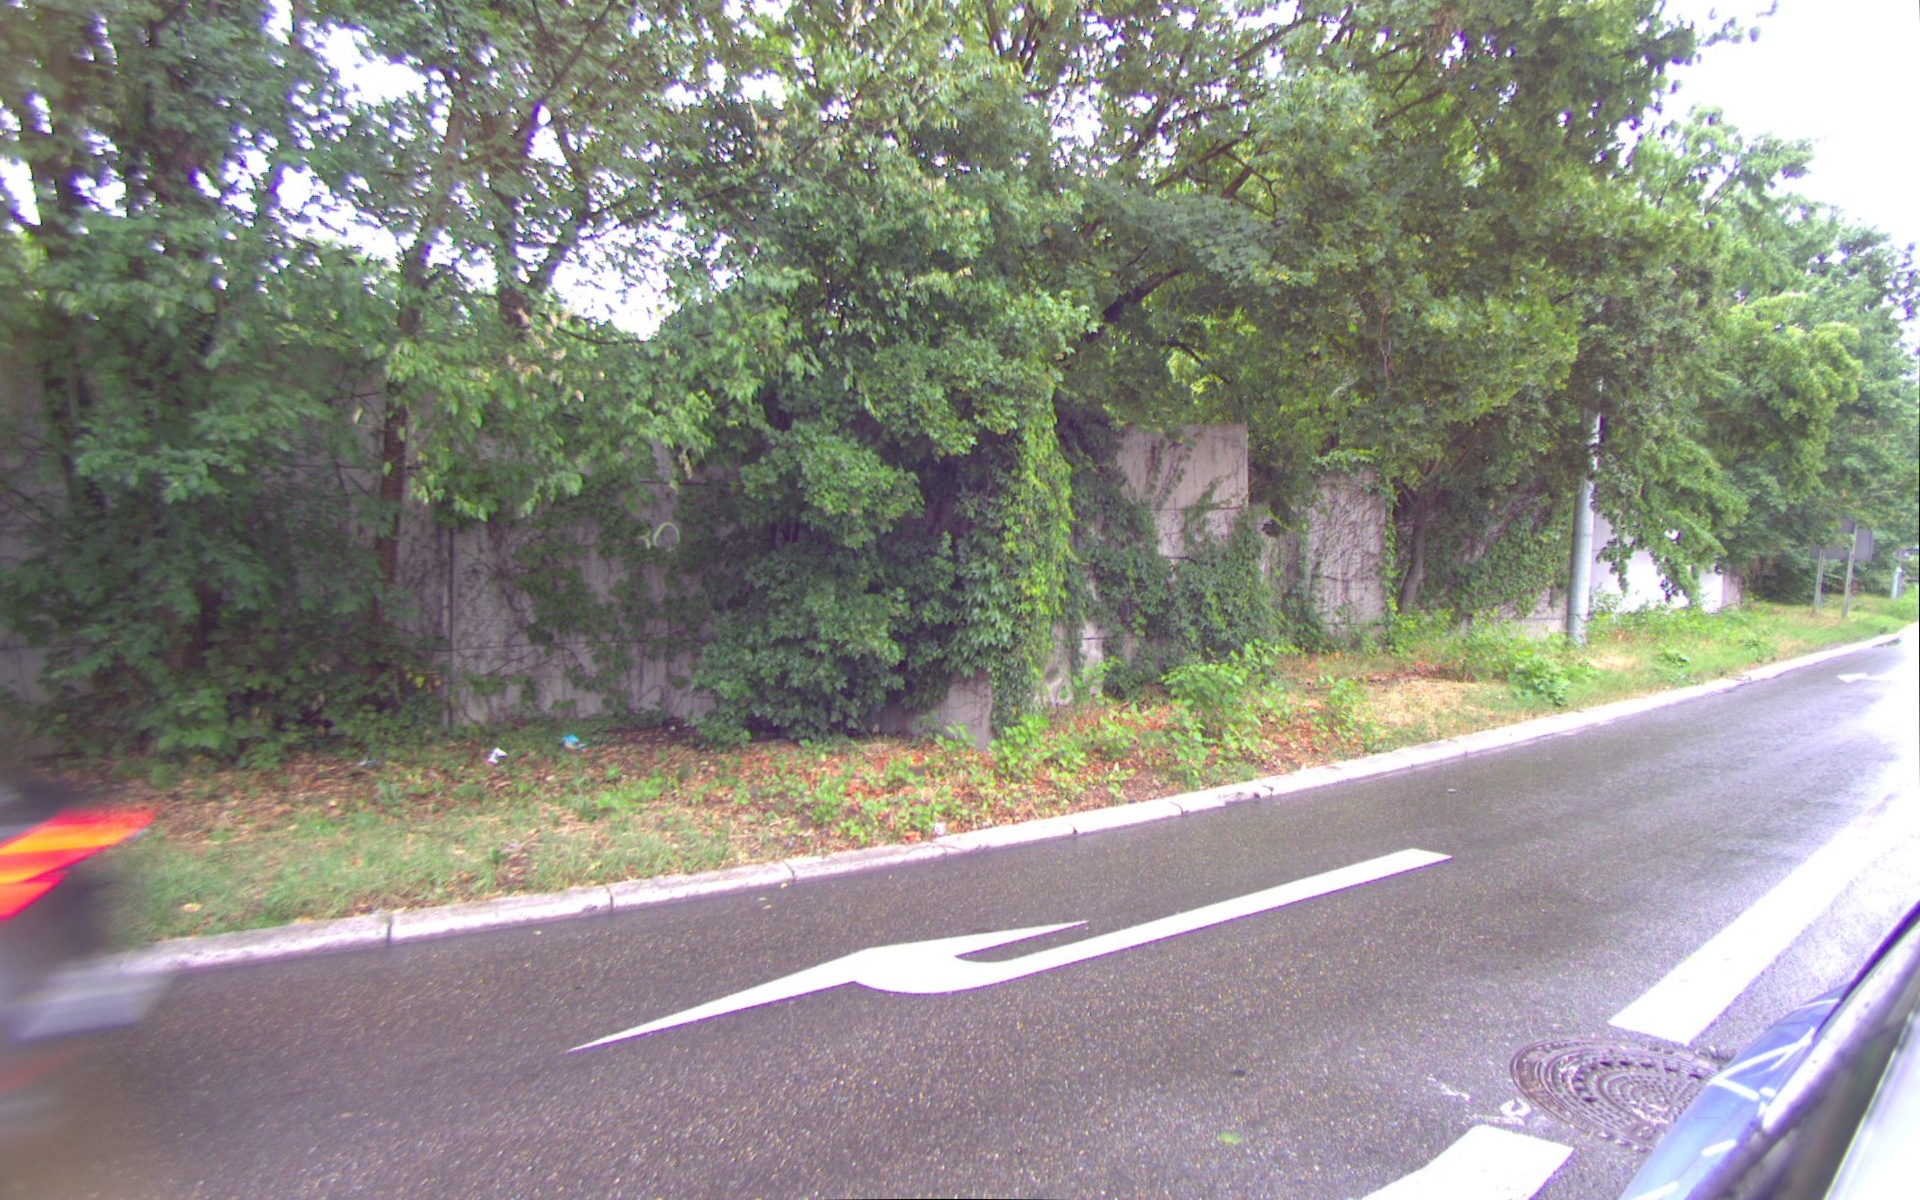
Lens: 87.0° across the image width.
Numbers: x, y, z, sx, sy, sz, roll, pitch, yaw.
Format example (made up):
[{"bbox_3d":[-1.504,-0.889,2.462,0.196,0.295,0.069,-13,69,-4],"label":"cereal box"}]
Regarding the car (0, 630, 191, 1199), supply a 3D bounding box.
[{"bbox_3d":[-4.249,0.793,1.812,4.324,1.421,1.756,0,-1,-28],"label":"car"}]
